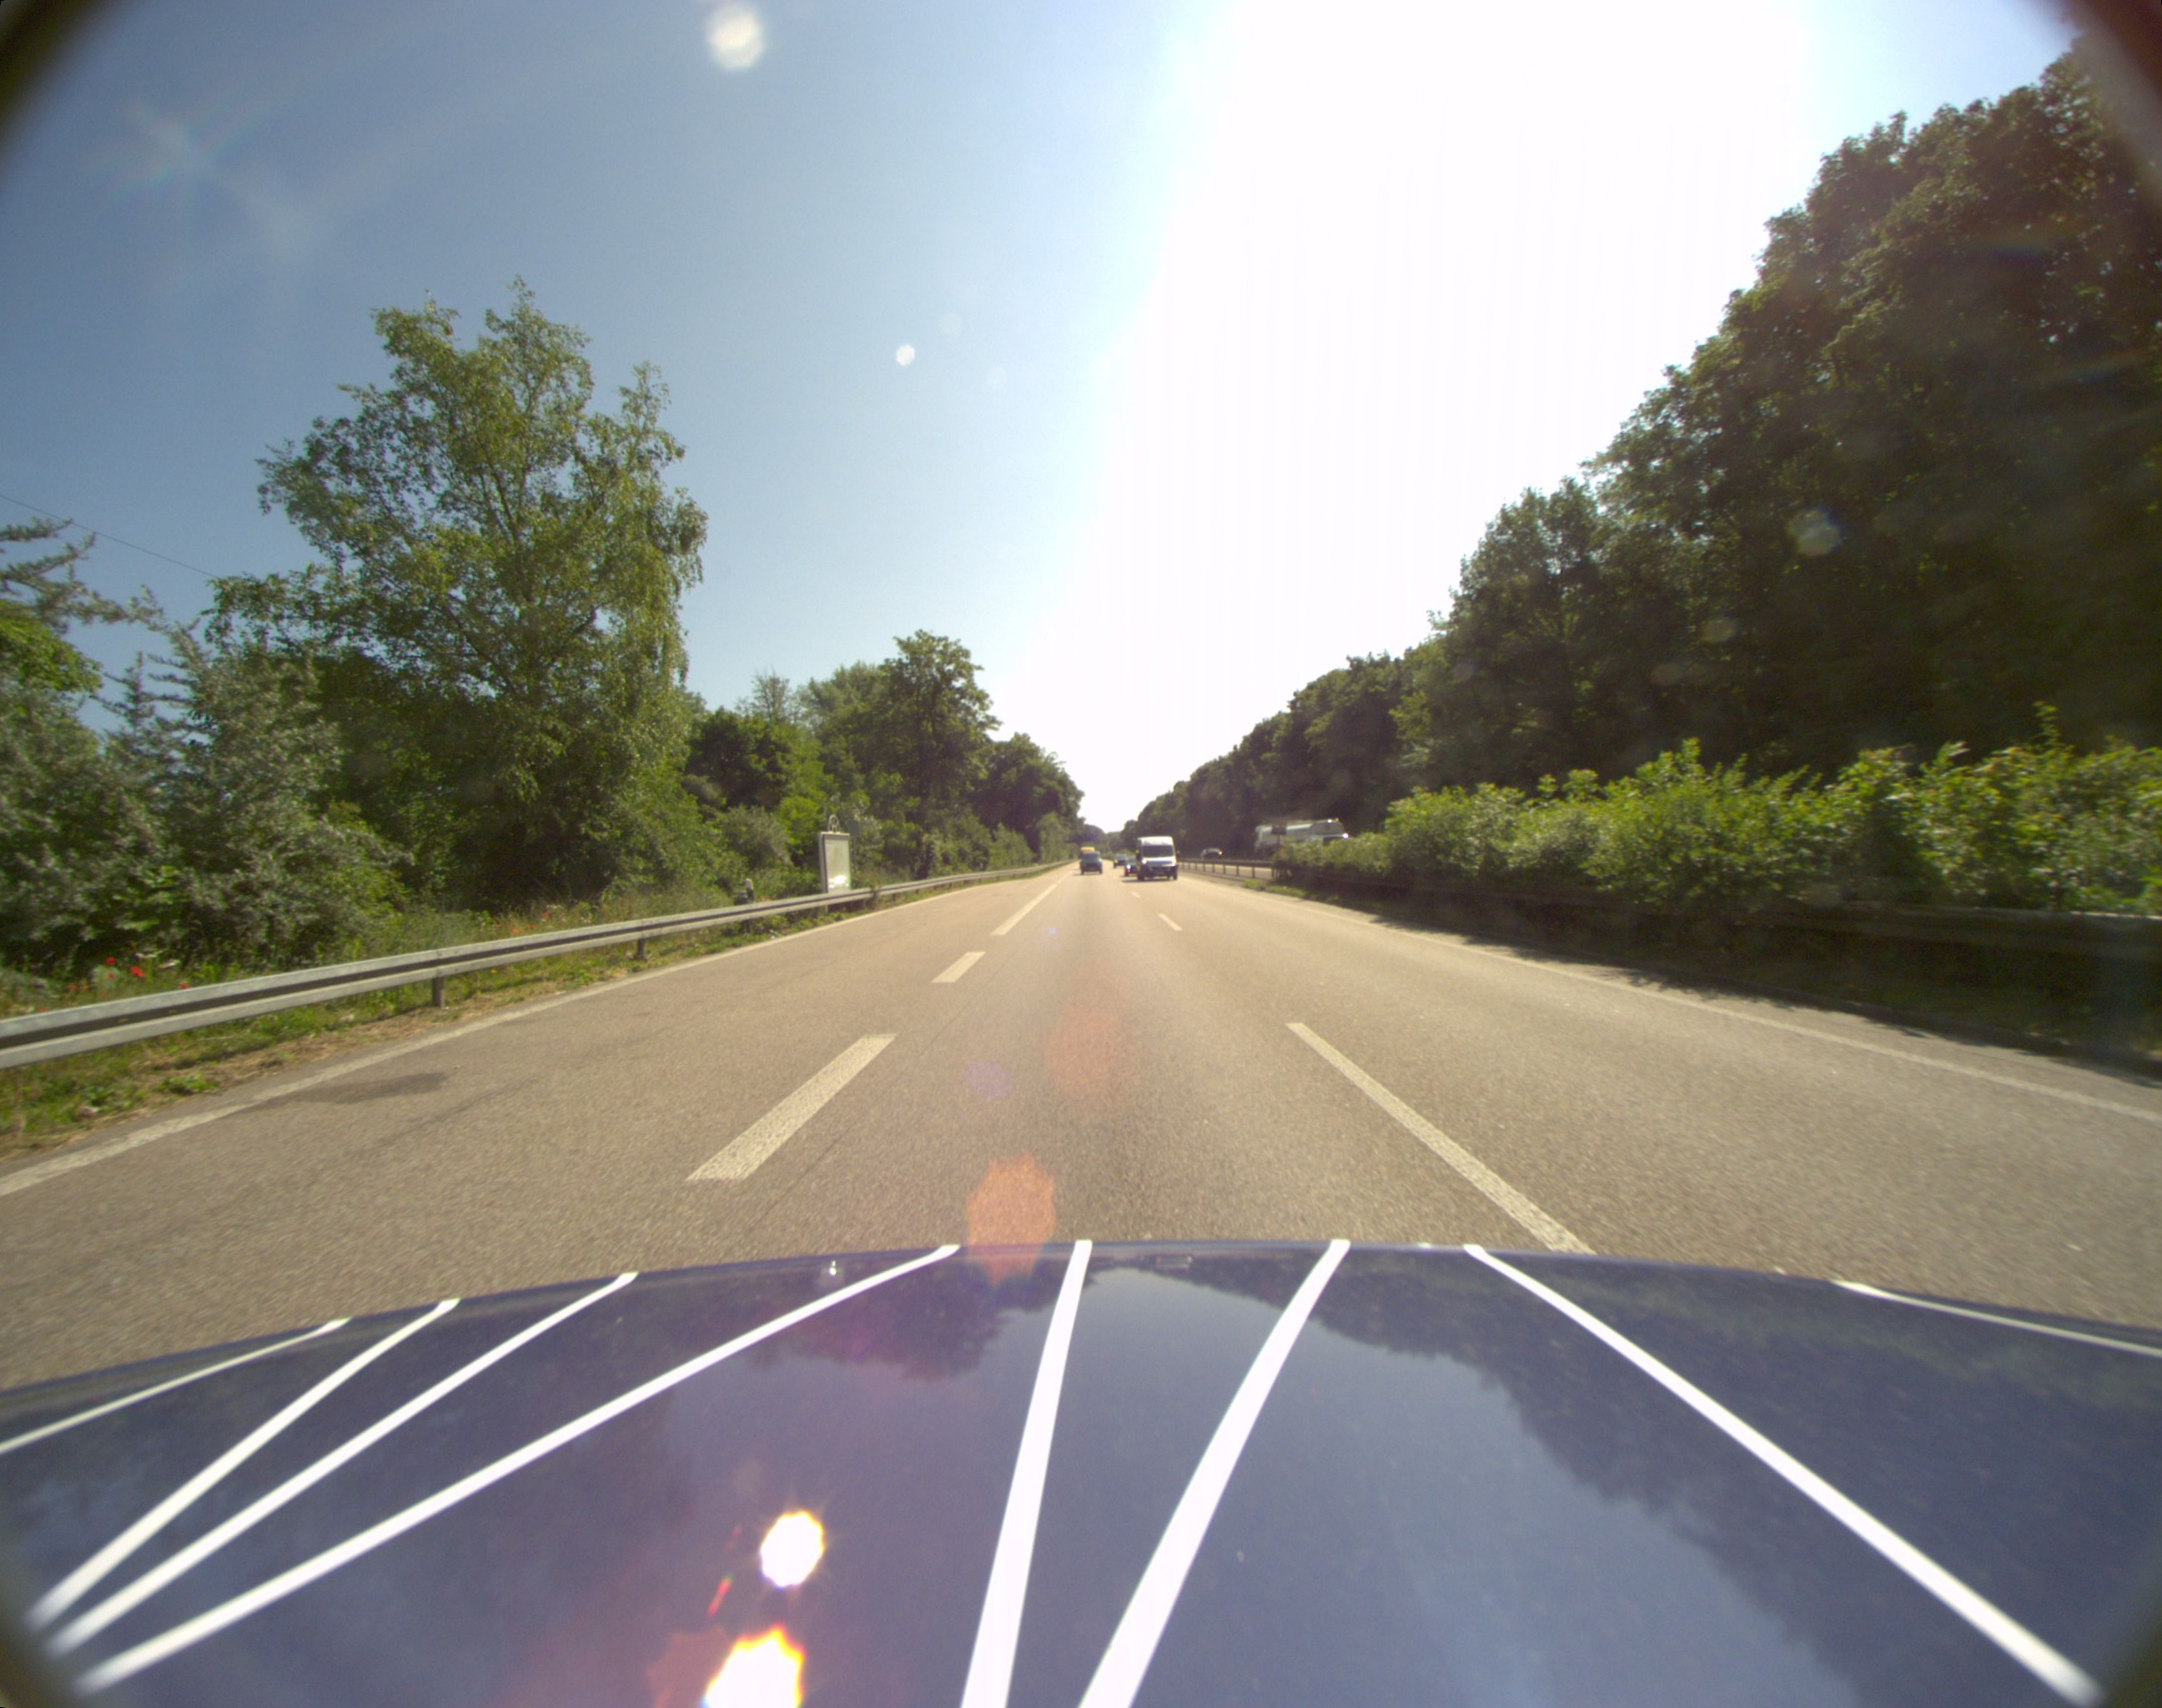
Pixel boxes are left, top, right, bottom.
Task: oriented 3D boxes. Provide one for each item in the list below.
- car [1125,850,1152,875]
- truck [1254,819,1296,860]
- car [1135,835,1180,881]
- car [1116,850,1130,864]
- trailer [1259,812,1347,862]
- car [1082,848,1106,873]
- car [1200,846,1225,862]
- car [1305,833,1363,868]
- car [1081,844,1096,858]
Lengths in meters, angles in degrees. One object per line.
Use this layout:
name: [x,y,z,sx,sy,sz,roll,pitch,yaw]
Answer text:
car: [4.056,0.575,53.901,1.666,1.624,3.644,-3,0,1]
truck: [16.317,-1.233,64.207,2.431,3.239,4.000,-3,1,1]
car: [4.356,0.187,43.786,2.046,2.429,4.637,-3,0,1]
car: [4.976,0.313,90.703,1.517,1.624,3.611,-3,0,1]
trailer: [16.236,-1.150,56.958,2.499,3.216,14.431,-3,0,1]
car: [1.064,0.541,63.049,1.812,1.921,4.581,-3,0,1]
car: [13.093,-0.040,75.821,1.727,1.471,4.244,-2,0,1]
car: [12.170,-0.178,36.752,1.568,1.539,3.650,-3,0,1]
car: [0.980,-0.349,93.917,1.737,1.624,3.899,-3,0,1]
